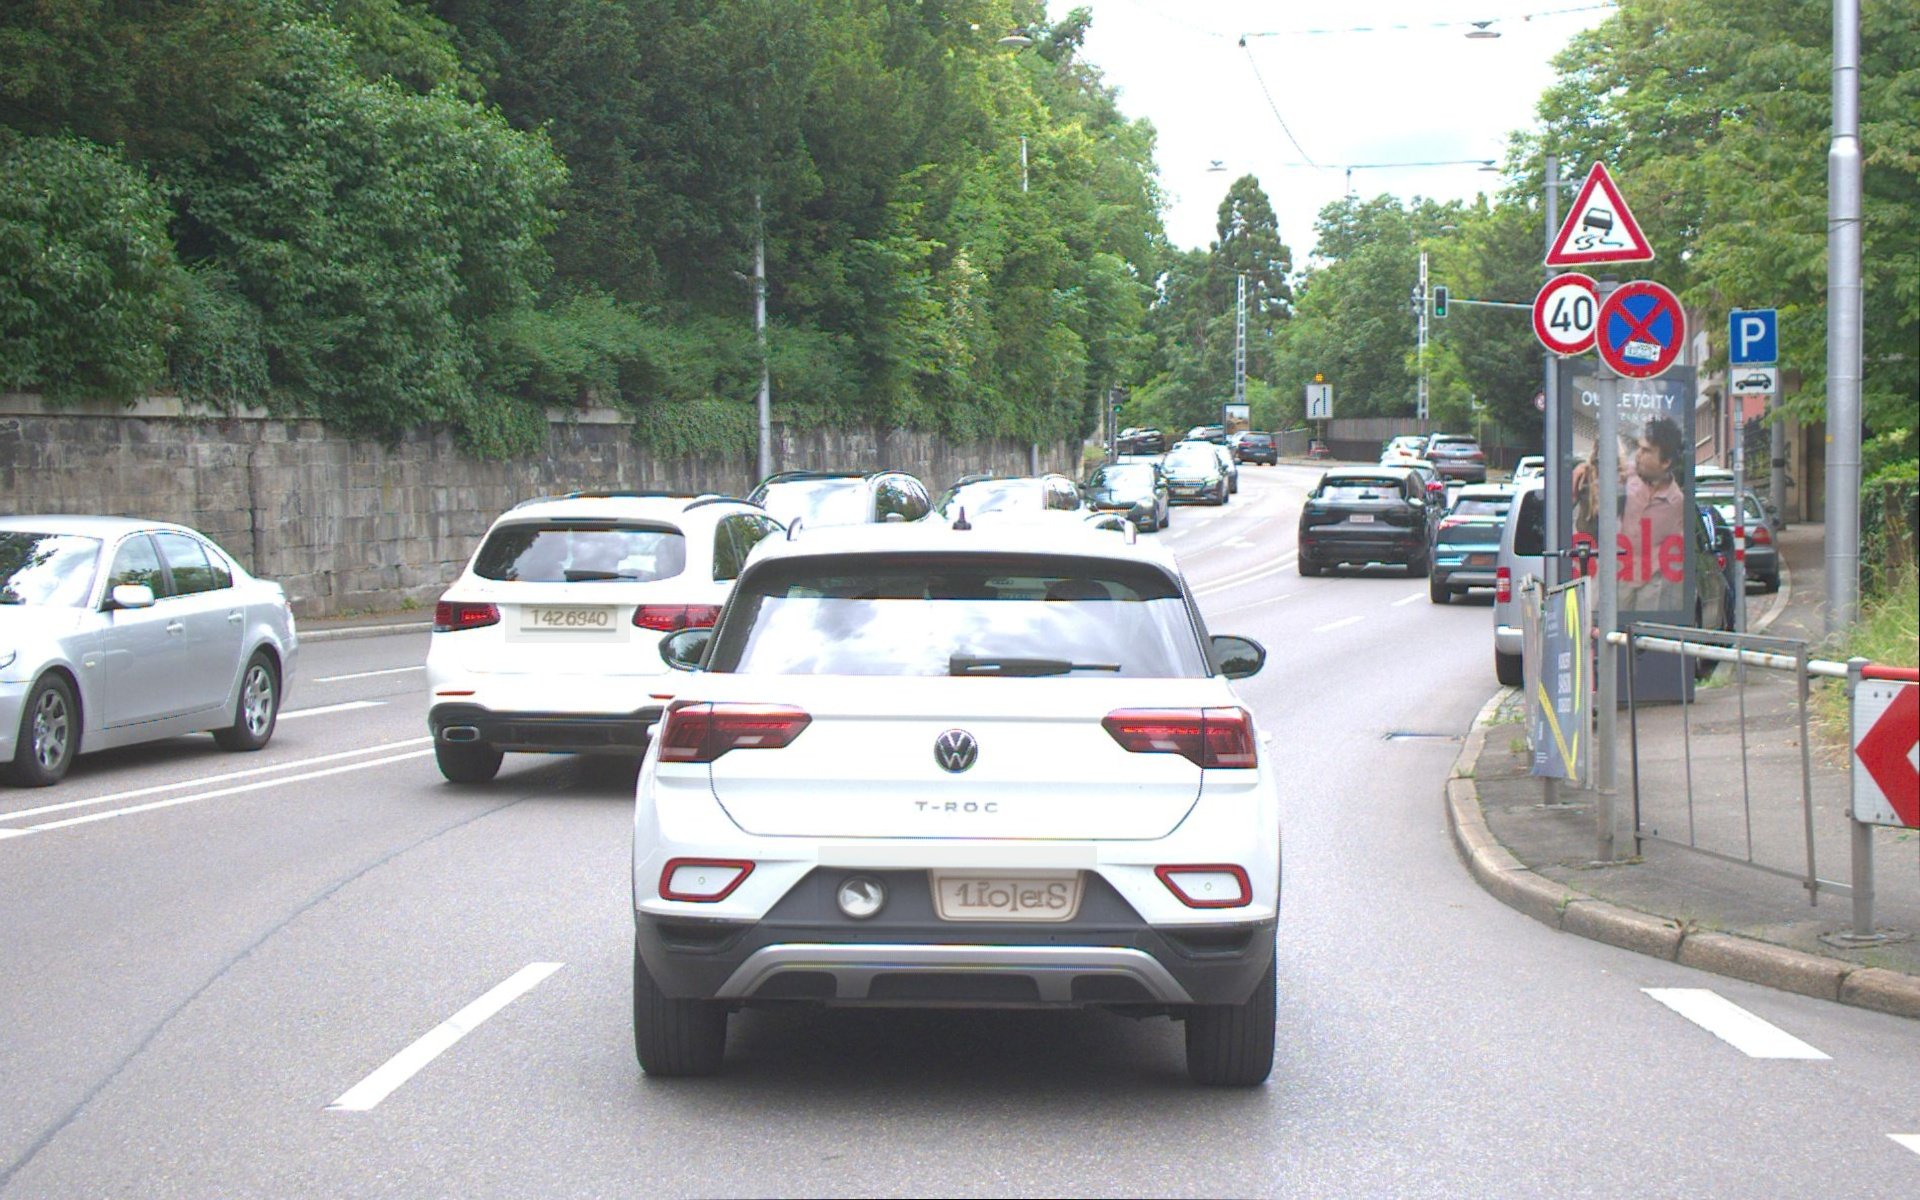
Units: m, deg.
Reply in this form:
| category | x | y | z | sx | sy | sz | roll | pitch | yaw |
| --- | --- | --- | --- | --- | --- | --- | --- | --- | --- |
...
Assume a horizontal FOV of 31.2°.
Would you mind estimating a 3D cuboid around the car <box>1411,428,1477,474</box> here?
| category | x | y | z | sx | sy | sz | roll | pitch | yaw |
| --- | --- | --- | --- | --- | --- | --- | --- | --- | --- |
| car | 15.620 | -4.809 | 111.128 | 1.647 | 1.445 | 3.547 | 0 | 2 | 0 |

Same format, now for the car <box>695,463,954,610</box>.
| category | x | y | z | sx | sy | sz | roll | pitch | yaw |
| --- | --- | --- | --- | --- | --- | --- | --- | --- | --- |
| car | -1.417 | -0.741 | 37.545 | 1.818 | 1.435 | 4.060 | 1 | 3 | 13 |

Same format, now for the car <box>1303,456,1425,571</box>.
| category | x | y | z | sx | sy | sz | roll | pitch | yaw |
| --- | --- | --- | --- | --- | --- | --- | --- | --- | --- |
| car | 6.287 | -1.378 | 53.507 | 1.788 | 1.630 | 3.736 | 1 | 4 | 7 |

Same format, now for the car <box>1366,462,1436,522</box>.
| category | x | y | z | sx | sy | sz | roll | pitch | yaw |
| --- | --- | --- | --- | --- | --- | --- | --- | --- | --- |
| car | 10.657 | -2.617 | 82.927 | 1.500 | 1.322 | 3.854 | 2 | 4 | 9 |

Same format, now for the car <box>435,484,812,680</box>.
| category | x | y | z | sx | sy | sz | roll | pitch | yaw |
| --- | --- | --- | --- | --- | --- | --- | --- | --- | --- |
| car | -2.912 | -0.224 | 30.832 | 1.895 | 1.561 | 4.477 | 2 | 2 | 15 |

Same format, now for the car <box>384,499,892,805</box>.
| category | x | y | z | sx | sy | sz | roll | pitch | yaw |
| --- | --- | --- | --- | --- | --- | --- | --- | --- | --- |
| car | -1.784 | 0.210 | 20.700 | 1.859 | 1.600 | 4.669 | 1 | 2 | 10 |

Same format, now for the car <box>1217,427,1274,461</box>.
| category | x | y | z | sx | sy | sz | roll | pitch | yaw |
| --- | --- | --- | --- | --- | --- | --- | --- | --- | --- |
| car | 12.353 | -6.749 | 148.901 | 1.646 | 1.445 | 3.548 | 0 | 2 | -9 |

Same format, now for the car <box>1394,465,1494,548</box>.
| category | x | y | z | sx | sy | sz | roll | pitch | yaw |
| --- | --- | --- | --- | --- | --- | --- | --- | --- | --- |
| car | 8.655 | -1.695 | 61.313 | 1.629 | 1.335 | 3.854 | 2 | 4 | 9 |

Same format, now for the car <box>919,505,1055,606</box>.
| category | x | y | z | sx | sy | sz | roll | pitch | yaw |
| --- | --- | --- | --- | --- | --- | --- | --- | --- | --- |
| car | 0.464 | -0.715 | 54.664 | 1.650 | 1.512 | 3.850 | 1 | 1 | 8 |

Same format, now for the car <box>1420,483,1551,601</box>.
| category | x | y | z | sx | sy | sz | roll | pitch | yaw |
| --- | --- | --- | --- | --- | --- | --- | --- | --- | --- |
| car | 7.048 | -0.814 | 45.955 | 1.629 | 1.414 | 3.854 | 2 | 3 | 9 |

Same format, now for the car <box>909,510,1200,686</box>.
| category | x | y | z | sx | sy | sz | roll | pitch | yaw |
| --- | --- | --- | --- | --- | --- | --- | --- | --- | --- |
| car | 0.993 | -0.078 | 32.877 | 1.866 | 1.529 | 4.774 | 1 | 2 | 13 |

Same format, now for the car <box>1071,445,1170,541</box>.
| category | x | y | z | sx | sy | sz | roll | pitch | yaw |
| --- | --- | --- | --- | --- | --- | --- | --- | --- | --- |
| car | 3.495 | -2.326 | 74.308 | 1.734 | 2.006 | 3.931 | 0 | 2 | 9 |

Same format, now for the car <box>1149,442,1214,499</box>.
| category | x | y | z | sx | sy | sz | roll | pitch | yaw |
| --- | --- | --- | --- | --- | --- | --- | --- | --- | --- |
| car | 5.978 | -3.503 | 92.615 | 1.647 | 1.445 | 3.546 | 0 | 3 | 5 |

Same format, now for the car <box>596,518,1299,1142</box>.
| category | x | y | z | sx | sy | sz | roll | pitch | yaw |
| --- | --- | --- | --- | --- | --- | --- | --- | --- | --- |
| car | -0.002 | 0.544 | 10.871 | 1.754 | 1.547 | 4.337 | 1 | 1 | 1 |

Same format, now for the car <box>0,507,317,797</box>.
| category | x | y | z | sx | sy | sz | roll | pitch | yaw |
| --- | --- | --- | --- | --- | --- | --- | --- | --- | --- |
| car | -5.470 | 0.212 | 20.208 | 1.757 | 1.437 | 4.477 | 2 | 2 | 11 |

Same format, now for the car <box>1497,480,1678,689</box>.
| category | x | y | z | sx | sy | sz | roll | pitch | yaw |
| --- | --- | --- | --- | --- | --- | --- | --- | --- | --- |
| car | 5.596 | -0.189 | 30.616 | 1.495 | 1.743 | 3.117 | 0 | 2 | 11 |

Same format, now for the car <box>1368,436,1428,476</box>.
| category | x | y | z | sx | sy | sz | roll | pitch | yaw |
| --- | --- | --- | --- | --- | --- | --- | --- | --- | --- |
| car | 15.794 | -5.199 | 124.180 | 1.646 | 1.445 | 3.547 | 0 | 2 | -1 |

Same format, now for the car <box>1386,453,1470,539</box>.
| category | x | y | z | sx | sy | sz | roll | pitch | yaw |
| --- | --- | --- | --- | --- | --- | --- | --- | --- | --- |
| car | 10.356 | -2.310 | 76.270 | 1.634 | 1.813 | 4.000 | -2 | 2 | 5 |

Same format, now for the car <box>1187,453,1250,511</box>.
| category | x | y | z | sx | sy | sz | roll | pitch | yaw |
| --- | --- | --- | --- | --- | --- | --- | --- | --- | --- |
| car | 7.728 | -3.533 | 102.626 | 1.758 | 1.701 | 3.822 | 0 | 2 | 6 |
